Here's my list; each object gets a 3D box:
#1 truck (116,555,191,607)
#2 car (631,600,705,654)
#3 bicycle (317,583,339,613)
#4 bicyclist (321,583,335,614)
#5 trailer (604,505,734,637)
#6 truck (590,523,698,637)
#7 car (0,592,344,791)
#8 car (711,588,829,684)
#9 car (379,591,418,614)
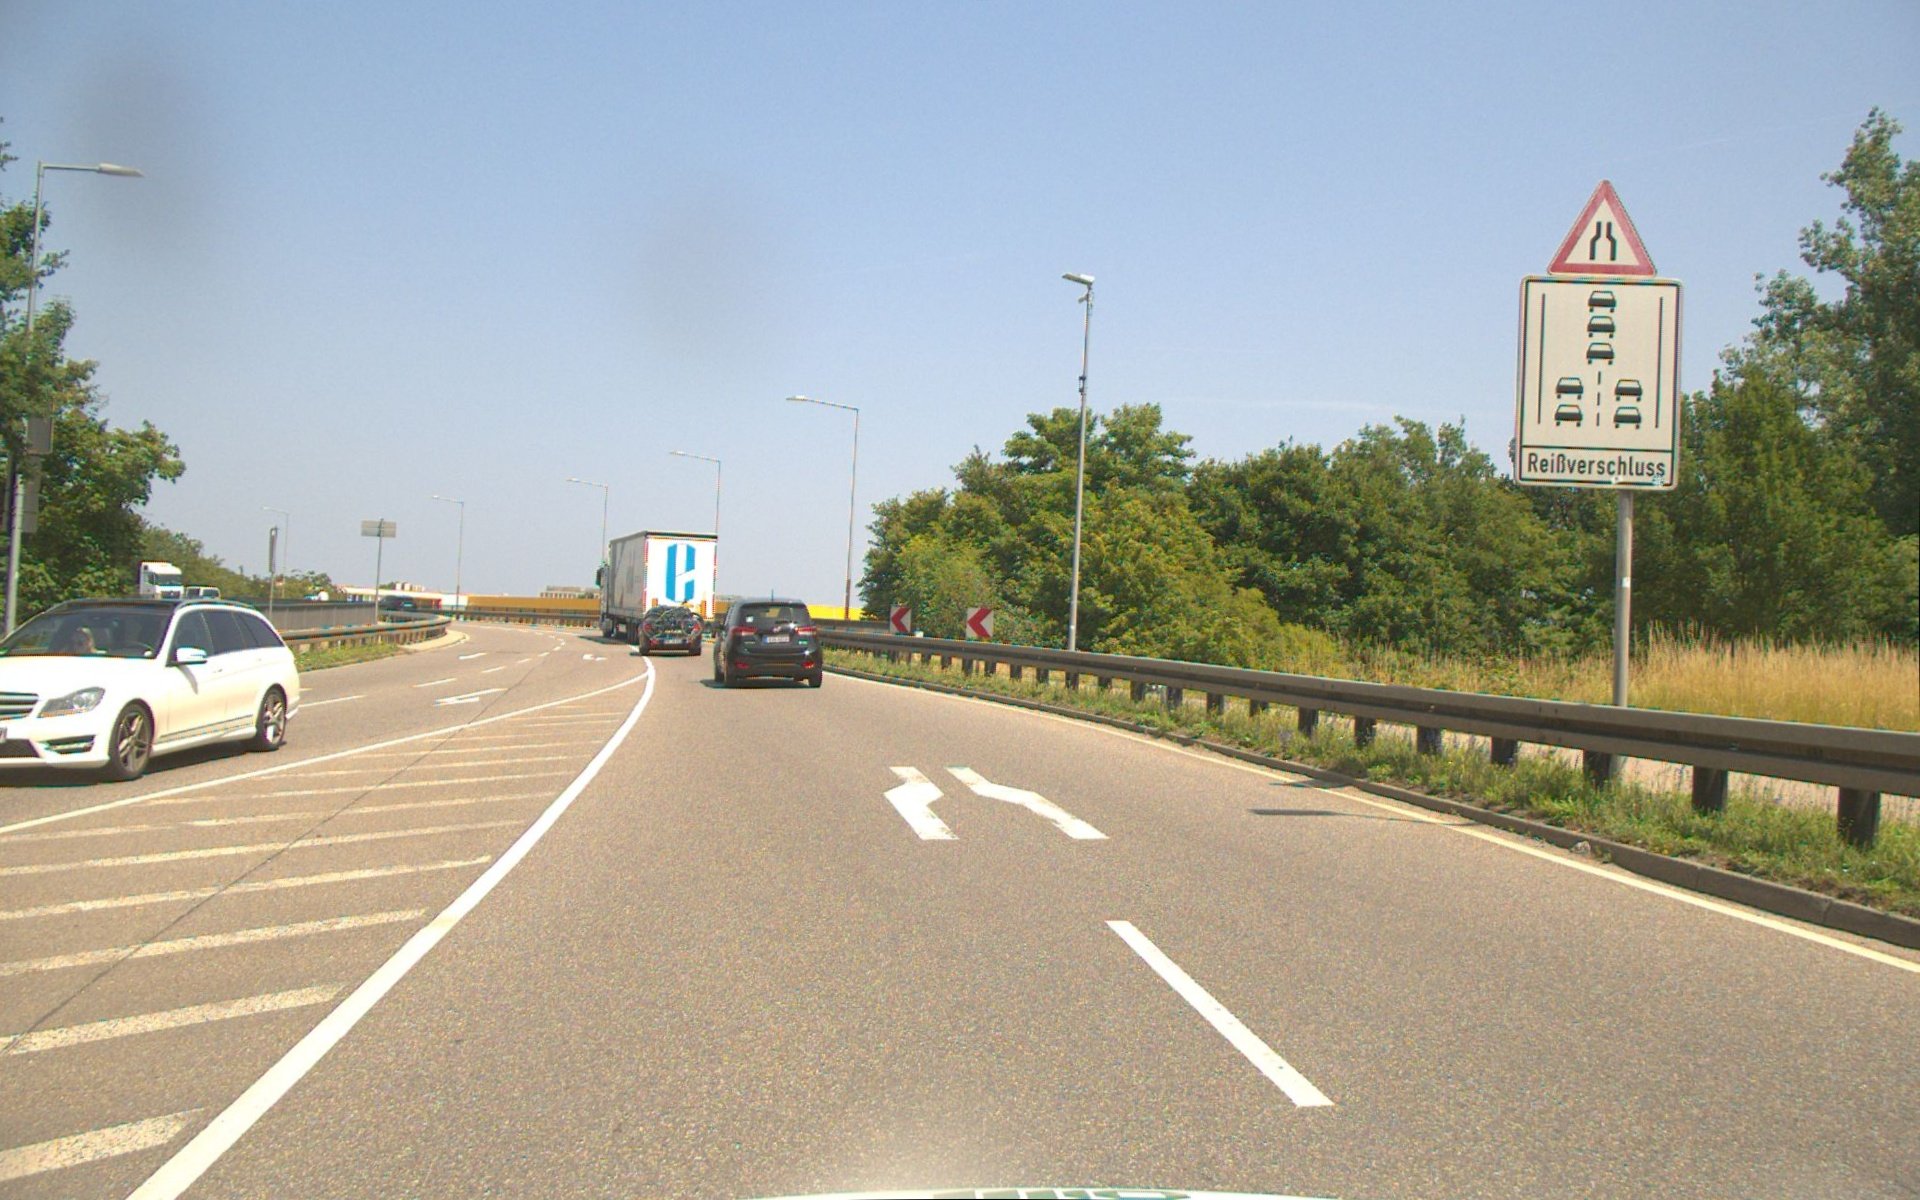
[{"bbox_3d":[-66.756,-1.550,136.940,6.056,4.061,2.707,2,-1,33],"label":"truck"},{"bbox_3d":[-8.550,0.762,48.276,1.976,1.454,3.765,2,-1,-12],"label":"car"},{"bbox_3d":[-39.913,-0.125,104.467,0.693,1.833,2.152,3,-1,-37],"label":"bicycle"},{"bbox_3d":[-39.893,-0.097,104.428,0.619,1.919,0.703,3,-1,-37],"label":"bicyclist"},{"bbox_3d":[-11.345,-1.026,63.437,3.512,4.461,11.388,2,-1,-16],"label":"trailer"},{"bbox_3d":[-13.585,-0.806,70.769,3.519,4.518,6.479,2,-1,-19],"label":"truck"},{"bbox_3d":[-7.355,0.688,14.754,1.790,1.431,4.888,2,-1,1],"label":"car"},{"bbox_3d":[-3.564,0.628,30.542,1.886,1.601,3.882,2,-1,-10],"label":"car"},{"bbox_3d":[-39.009,0.163,114.935,1.821,1.534,3.597,3,-1,-31],"label":"car"}]
